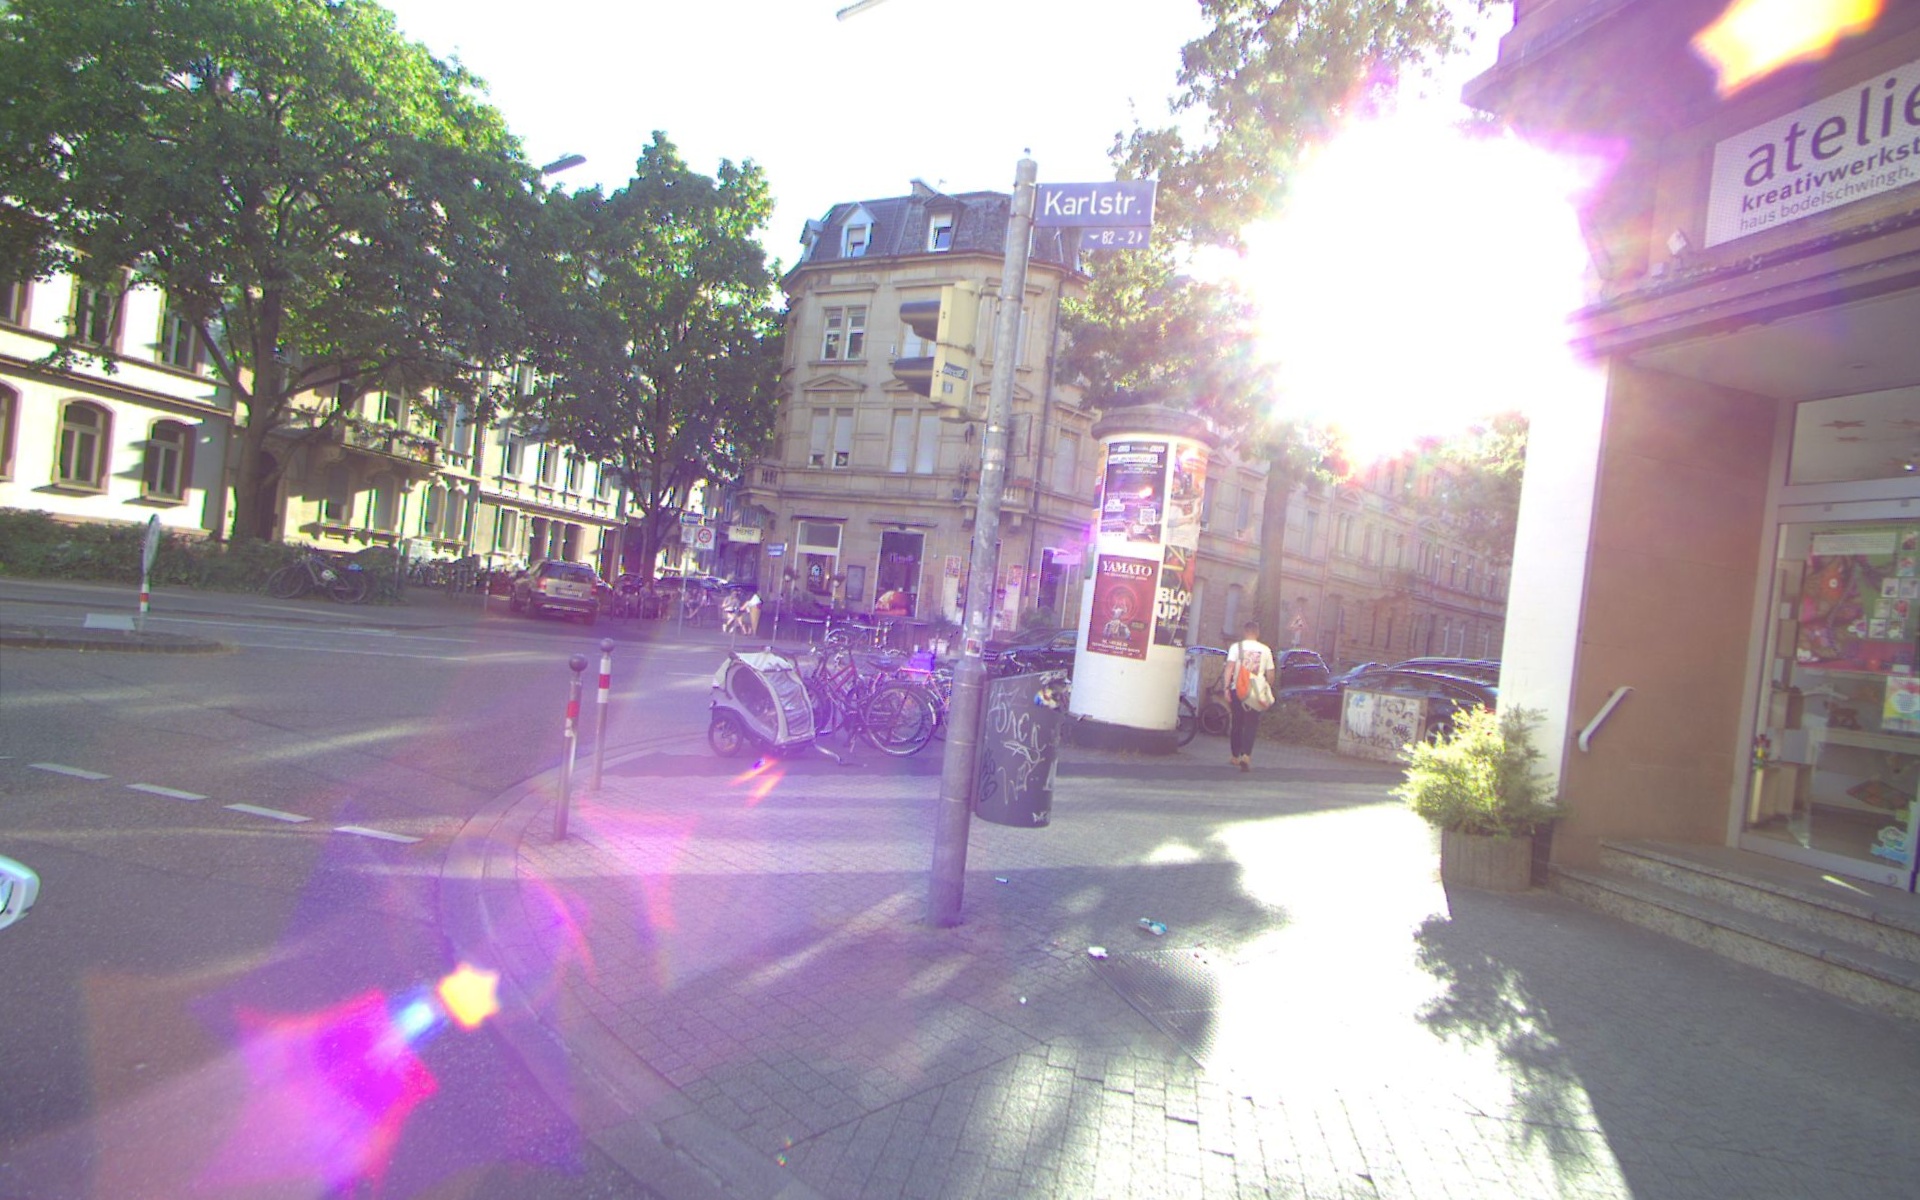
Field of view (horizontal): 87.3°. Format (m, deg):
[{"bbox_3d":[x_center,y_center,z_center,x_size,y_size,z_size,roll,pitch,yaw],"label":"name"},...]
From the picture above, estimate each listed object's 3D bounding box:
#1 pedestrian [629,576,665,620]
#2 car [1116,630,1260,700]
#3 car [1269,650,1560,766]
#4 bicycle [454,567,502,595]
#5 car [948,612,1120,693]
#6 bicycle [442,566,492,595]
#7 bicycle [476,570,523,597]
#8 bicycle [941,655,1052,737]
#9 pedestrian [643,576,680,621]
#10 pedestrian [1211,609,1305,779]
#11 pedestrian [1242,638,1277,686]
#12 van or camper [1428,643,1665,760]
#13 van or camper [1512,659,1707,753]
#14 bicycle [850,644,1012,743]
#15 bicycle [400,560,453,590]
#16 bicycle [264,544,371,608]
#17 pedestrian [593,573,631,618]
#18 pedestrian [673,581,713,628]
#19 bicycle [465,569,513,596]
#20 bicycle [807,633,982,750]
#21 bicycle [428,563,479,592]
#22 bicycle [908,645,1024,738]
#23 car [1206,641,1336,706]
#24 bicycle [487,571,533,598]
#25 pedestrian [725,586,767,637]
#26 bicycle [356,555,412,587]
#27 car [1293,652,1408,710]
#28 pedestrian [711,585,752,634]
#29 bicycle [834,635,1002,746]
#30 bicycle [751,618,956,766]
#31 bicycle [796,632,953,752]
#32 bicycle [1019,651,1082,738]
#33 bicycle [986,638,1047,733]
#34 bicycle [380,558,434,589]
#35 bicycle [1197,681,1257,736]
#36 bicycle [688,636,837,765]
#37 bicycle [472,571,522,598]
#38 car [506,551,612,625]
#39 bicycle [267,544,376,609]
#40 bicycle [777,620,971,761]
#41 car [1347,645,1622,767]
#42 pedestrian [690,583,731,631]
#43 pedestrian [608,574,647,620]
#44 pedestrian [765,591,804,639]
[{"bbox_3d":[-10.873,-0.055,34.949,0.755,1.448,0.909,7,4,44],"label":"pedestrian"},{"bbox_3d":[6.619,1.906,29.081,3.965,1.593,1.785,7,0,-37],"label":"car"},{"bbox_3d":[8.062,1.865,18.072,4.257,1.371,1.989,6,0,44],"label":"car"},{"bbox_3d":[-19.204,-0.742,40.091,1.763,0.904,0.493,7,0,14],"label":"bicycle"},{"bbox_3d":[1.893,1.332,25.171,3.965,1.593,1.785,7,0,-37],"label":"car"},{"bbox_3d":[-19.318,-0.769,39.423,1.763,0.904,0.493,7,0,14],"label":"bicycle"},{"bbox_3d":[-18.881,-0.676,41.278,1.763,0.904,0.493,7,0,14],"label":"bicycle"},{"bbox_3d":[0.500,1.298,13.820,1.379,0.961,0.450,5,0,24],"label":"bicycle"},{"bbox_3d":[-10.114,-0.044,34.087,0.908,1.448,0.756,1,4,-45],"label":"pedestrian"},{"bbox_3d":[3.472,1.082,11.816,0.792,1.821,1.093,5,-2,11],"label":"pedestrian"},{"bbox_3d":[11.757,2.436,39.532,0.759,1.759,0.904,1,4,-41],"label":"pedestrian"},{"bbox_3d":[13.511,2.290,23.335,4.257,2.010,1.989,6,0,44],"label":"van or camper"},{"bbox_3d":[18.561,2.992,28.859,4.257,2.010,1.989,6,0,44],"label":"van or camper"},{"bbox_3d":[-0.365,1.143,12.541,1.884,1.012,0.450,5,0,16],"label":"bicycle"},{"bbox_3d":[-19.596,-0.910,36.955,1.763,0.904,0.493,7,0,14],"label":"bicycle"},{"bbox_3d":[-14.237,-0.524,22.318,1.851,1.176,0.553,7,2,-41],"label":"bicycle"},{"bbox_3d":[-11.794,-0.160,34.066,0.755,1.448,0.909,7,4,44],"label":"pedestrian"},{"bbox_3d":[-8.626,0.156,32.481,0.755,1.448,0.909,7,4,44],"label":"pedestrian"},{"bbox_3d":[-19.075,-0.711,40.755,1.763,0.904,0.493,7,0,14],"label":"bicycle"},{"bbox_3d":[-0.754,1.025,11.547,1.884,1.112,0.450,5,0,16],"label":"bicycle"},{"bbox_3d":[-19.372,-0.848,38.455,1.763,0.904,0.493,7,0,14],"label":"bicycle"},{"bbox_3d":[0.076,1.189,13.300,1.379,1.055,0.450,5,0,24],"label":"bicycle"},{"bbox_3d":[9.787,2.322,31.530,3.965,1.593,1.785,7,0,-37],"label":"car"},{"bbox_3d":[-18.747,-0.646,41.903,1.763,0.904,0.493,7,0,14],"label":"bicycle"},{"bbox_3d":[-6.482,0.348,30.488,0.908,1.448,0.756,1,4,-45],"label":"pedestrian"},{"bbox_3d":[-20.131,-1.014,35.147,1.763,0.904,0.493,7,0,14],"label":"bicycle"},{"bbox_3d":[13.594,2.826,34.949,3.965,1.593,1.785,7,0,-37],"label":"car"},{"bbox_3d":[-7.082,0.296,31.131,0.755,1.448,0.909,7,4,44],"label":"pedestrian"},{"bbox_3d":[-0.505,1.065,12.059,1.884,1.113,0.450,5,0,16],"label":"bicycle"},{"bbox_3d":[-1.060,0.889,10.024,1.884,1.238,0.506,5,0,16],"label":"bicycle"},{"bbox_3d":[-0.939,0.986,11.061,1.581,1.125,0.450,5,0,16],"label":"bicycle"},{"bbox_3d":[1.285,1.333,14.481,0.443,1.099,1.402,5,-1,-11],"label":"bicycle"},{"bbox_3d":[0.804,1.213,14.650,0.443,1.238,1.402,5,0,-11],"label":"bicycle"},{"bbox_3d":[-19.851,-0.959,36.104,1.763,0.904,0.493,7,0,14],"label":"bicycle"},{"bbox_3d":[4.352,1.756,16.360,0.393,0.768,1.129,6,4,44],"label":"bicycle"},{"bbox_3d":[-1.839,0.916,9.452,1.043,1.057,0.780,5,0,21],"label":"bicycle"},{"bbox_3d":[-18.081,-0.593,39.322,0.484,0.904,1.796,7,0,26],"label":"bicycle"},{"bbox_3d":[-11.371,-0.376,28.378,1.980,1.637,3.966,8,-1,-32],"label":"car"},{"bbox_3d":[-13.861,-0.493,21.857,1.851,1.176,0.553,7,2,-41],"label":"bicycle"},{"bbox_3d":[-0.902,0.919,10.521,1.884,1.238,0.450,5,0,16],"label":"bicycle"},{"bbox_3d":[10.122,1.991,19.616,4.257,1.667,1.989,6,0,44],"label":"car"},{"bbox_3d":[-7.883,0.222,31.779,0.908,1.448,0.756,1,4,-45],"label":"pedestrian"},{"bbox_3d":[-11.037,-0.092,33.378,0.908,1.448,0.756,1,4,-45],"label":"pedestrian"},{"bbox_3d":[-5.698,0.490,32.682,0.903,1.448,0.760,7,4,42],"label":"pedestrian"}]
